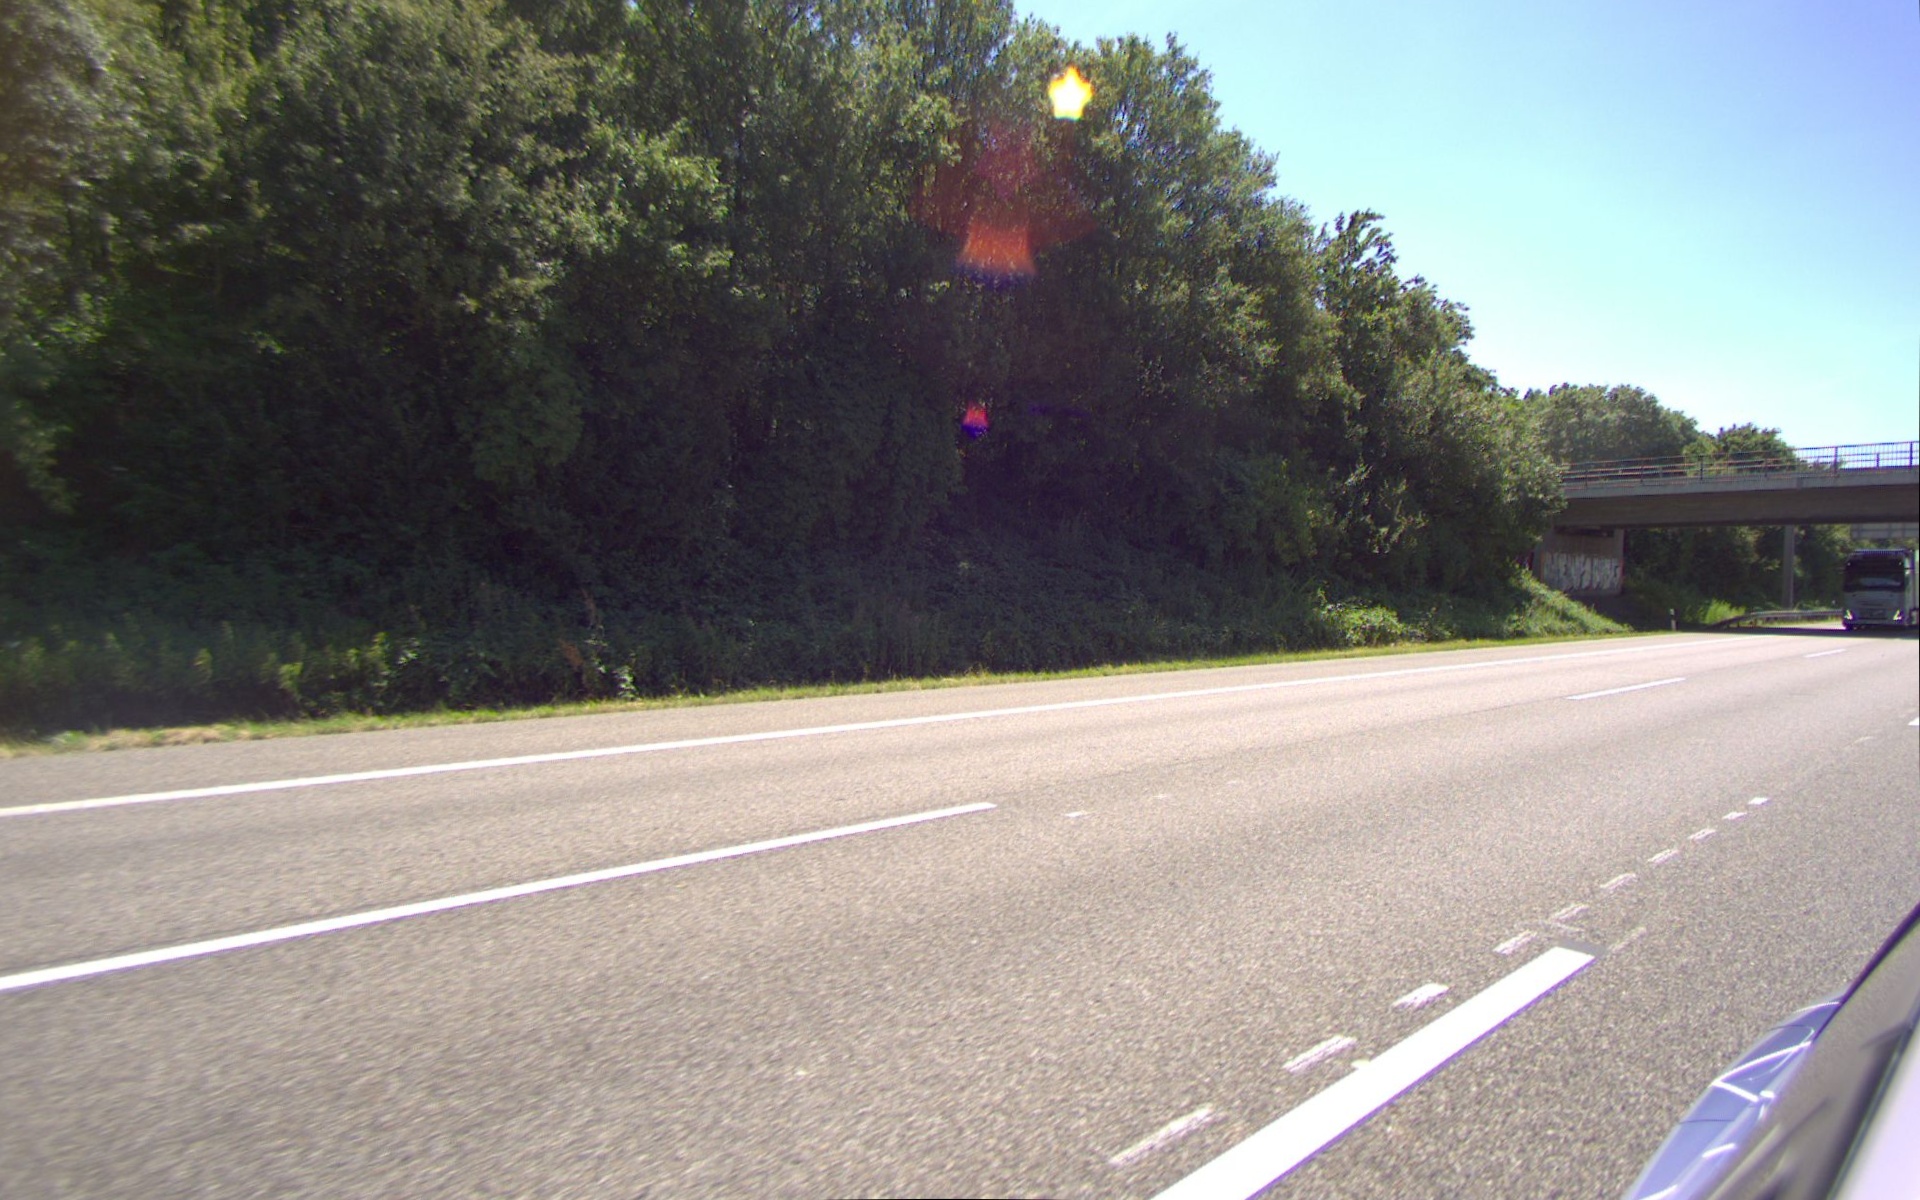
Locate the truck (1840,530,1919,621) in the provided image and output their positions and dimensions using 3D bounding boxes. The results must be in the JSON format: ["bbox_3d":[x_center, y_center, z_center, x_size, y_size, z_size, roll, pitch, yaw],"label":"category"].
[{"bbox_3d":[46.459,-1.151,50.538,5.944,4.268,3.052,0,0,-42],"label":"truck"}]

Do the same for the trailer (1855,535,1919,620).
[{"bbox_3d":[52.735,-1.143,56.152,13.596,4.278,3.044,0,0,-42],"label":"trailer"}]
